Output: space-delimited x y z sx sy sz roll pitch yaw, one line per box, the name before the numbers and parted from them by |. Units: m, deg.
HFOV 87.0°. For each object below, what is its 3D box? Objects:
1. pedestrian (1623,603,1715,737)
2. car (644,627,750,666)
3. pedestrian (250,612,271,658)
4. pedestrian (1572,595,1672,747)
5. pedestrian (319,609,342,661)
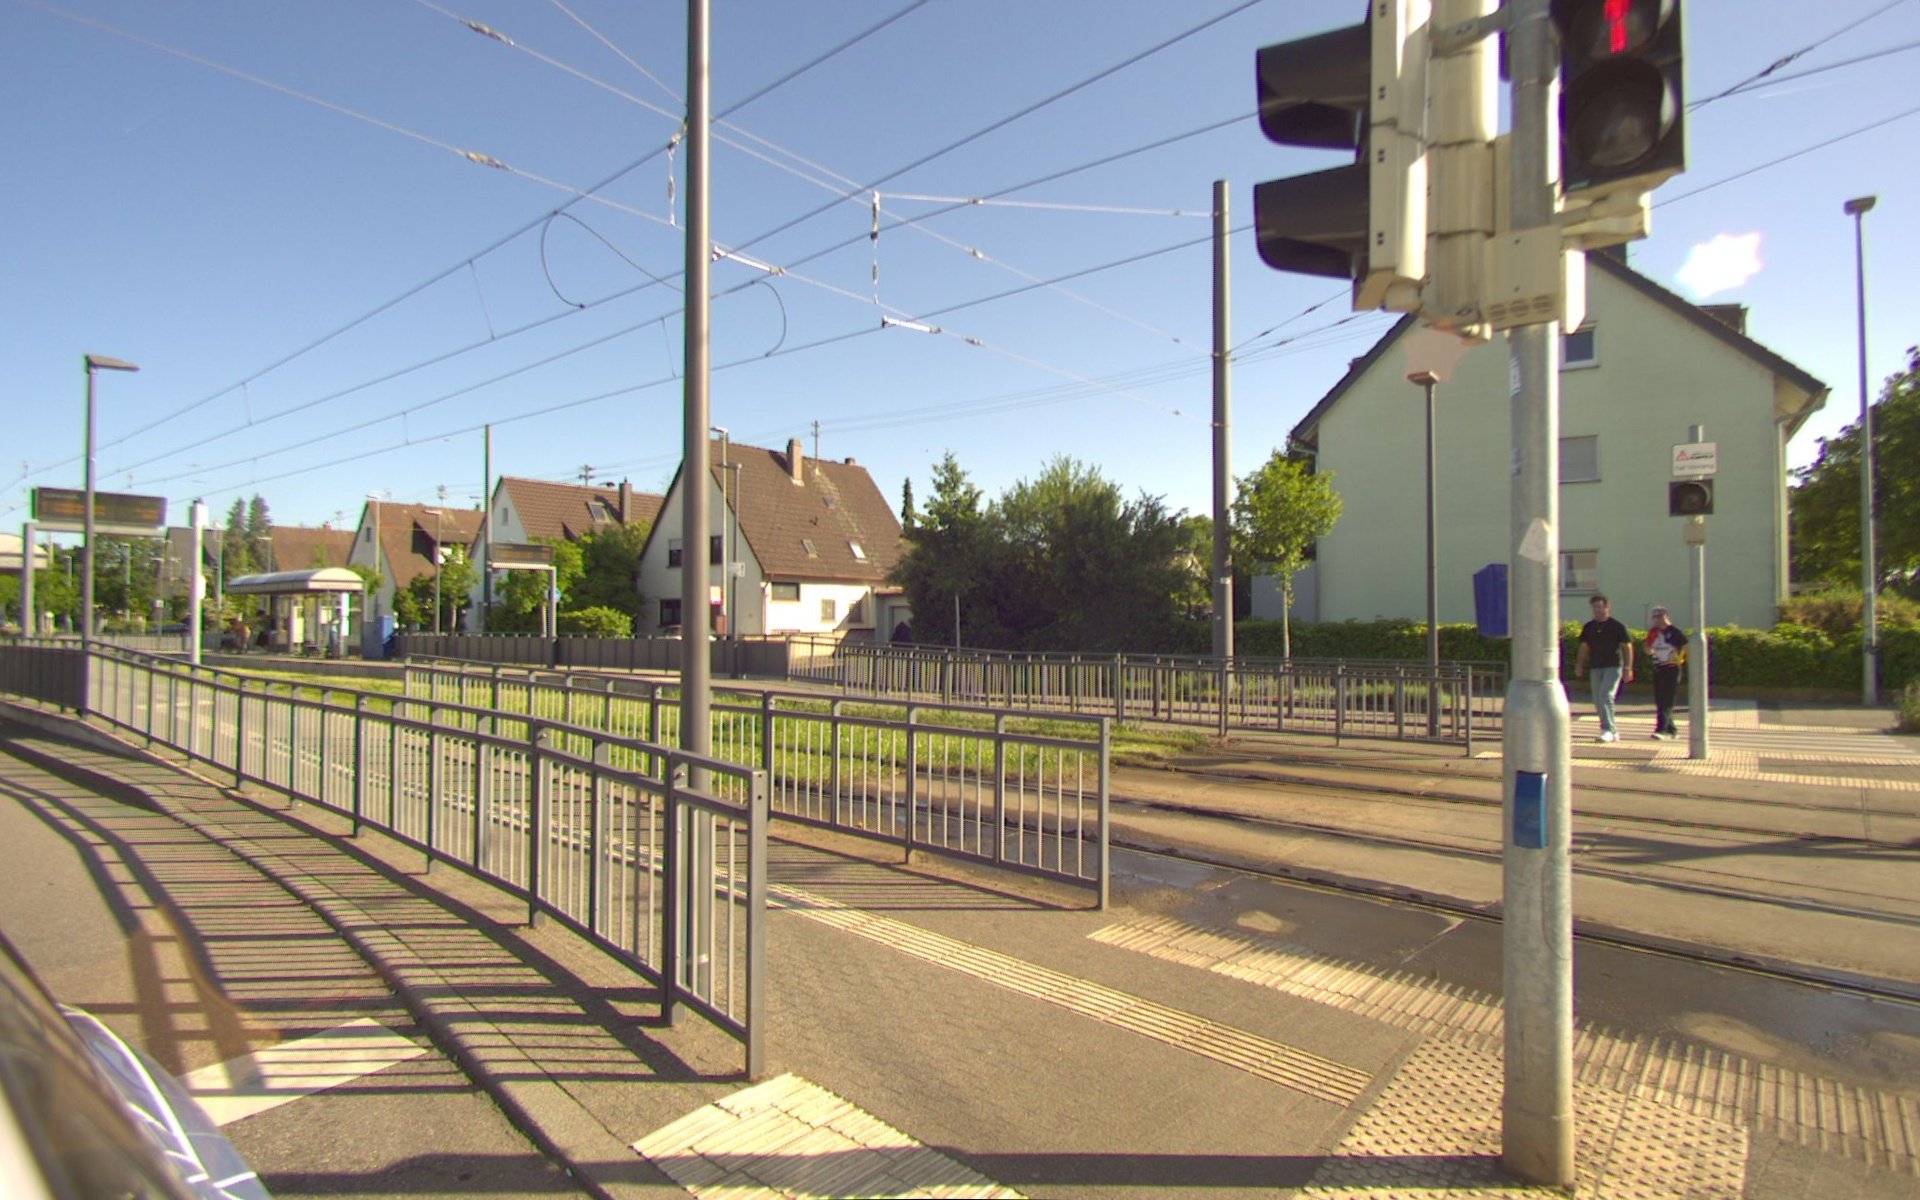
pedestrian | 9.288 0.892 13.291 0.721 1.673 0.793 1 1 15
car | -10.933 1.895 42.305 1.996 1.547 3.941 -2 -2 37
pedestrian | -27.076 1.366 39.165 0.543 1.766 0.528 -2 -2 40
pedestrian | 8.101 0.836 12.425 0.818 1.784 0.686 1 1 15
pedestrian | -21.502 1.188 34.564 0.612 1.766 0.443 1 -2 -31
